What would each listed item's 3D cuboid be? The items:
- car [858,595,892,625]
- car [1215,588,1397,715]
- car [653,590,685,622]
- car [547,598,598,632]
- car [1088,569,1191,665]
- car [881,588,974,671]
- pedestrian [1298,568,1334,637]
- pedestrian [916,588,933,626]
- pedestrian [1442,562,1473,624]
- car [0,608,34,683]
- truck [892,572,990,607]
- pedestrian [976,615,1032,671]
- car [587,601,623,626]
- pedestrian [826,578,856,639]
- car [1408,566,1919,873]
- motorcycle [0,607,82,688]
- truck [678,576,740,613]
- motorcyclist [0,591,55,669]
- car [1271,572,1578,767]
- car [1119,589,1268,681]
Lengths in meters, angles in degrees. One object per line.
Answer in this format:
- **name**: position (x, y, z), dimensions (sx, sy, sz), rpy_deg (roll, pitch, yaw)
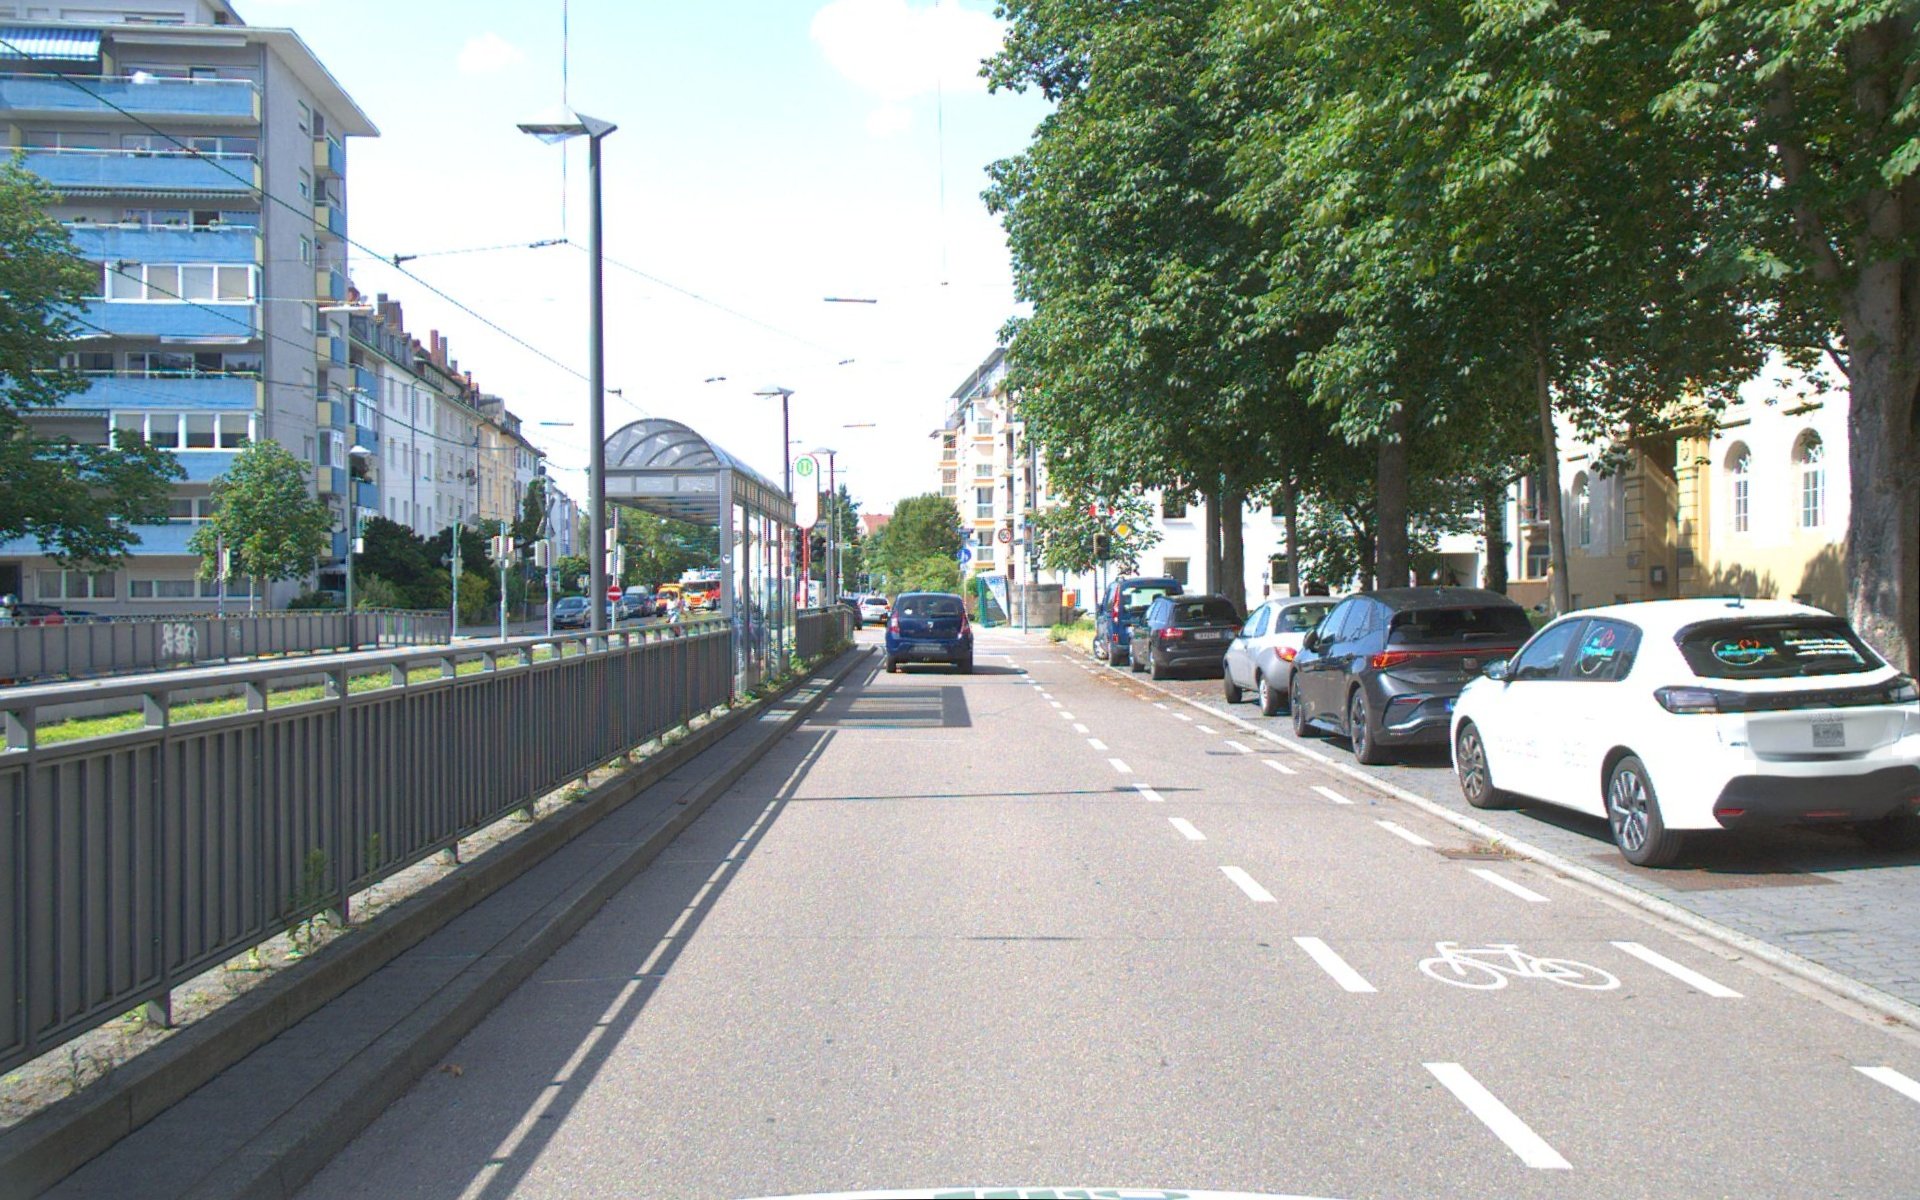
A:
- **car**: position (-4.450, 0.532, 86.005), dimensions (1.591, 1.491, 3.506), rpy_deg (1, 0, -5)
- **car**: position (4.475, 0.627, 21.842), dimensions (1.558, 1.470, 3.597), rpy_deg (-2, 0, -1)
- **car**: position (-21.956, 0.438, 124.934), dimensions (1.956, 2.315, 4.826), rpy_deg (2, 0, -7)
- **car**: position (-20.001, 0.756, 85.439), dimensions (1.954, 1.674, 3.996), rpy_deg (1, 0, -5)
- **car**: position (3.883, 0.325, 36.335), dimensions (1.785, 1.929, 4.184), rpy_deg (-2, 1, 0)
- **car**: position (-0.657, 0.562, 32.799), dimensions (1.708, 1.533, 3.998), rpy_deg (1, 0, -2)
- **pedestrian**: position (9.078, 0.056, 42.181), dimensions (0.729, 1.726, 0.767), rpy_deg (-1, 0, 0)
- **pedestrian**: position (-1.757, 0.342, 81.511), dimensions (0.687, 1.820, 1.029), rpy_deg (-4, 0, -5)
- **pedestrian**: position (13.337, -0.182, 44.373), dimensions (0.619, 1.624, 0.539), rpy_deg (-1, -1, -4)
- **car**: position (-22.278, 1.014, 36.026), dimensions (3.620, 1.607, 1.631), rpy_deg (-1, 0, -32)
- **truck**: position (-2.027, -1.105, 174.511), dimensions (9.954, 3.531, 2.668), rpy_deg (1, -1, -12)
- **pedestrian**: position (1.638, 1.606, 63.127), dimensions (1.953, 2.049, 3.999), rpy_deg (1, 0, -1)
- **car**: position (-21.746, 0.848, 101.335), dimensions (1.734, 1.467, 3.994), rpy_deg (1, 0, -7)
- **pedestrian**: position (-3.401, 0.239, 47.267), dimensions (0.828, 1.697, 0.798), rpy_deg (-1, -1, -4)
- **car**: position (4.587, 0.625, 10.978), dimensions (1.799, 1.550, 4.250), rpy_deg (-3, 0, -3)
- **motorcycle**: position (-16.828, 0.826, 29.476), dimensions (0.994, 1.362, 2.517), rpy_deg (-1, 0, -1)
- **truck**: position (-23.497, -0.554, 155.354), dimensions (2.541, 3.241, 8.389), rpy_deg (-2, 0, 15)
- **motorcyclist**: position (-16.862, 0.530, 29.451), dimensions (0.919, 1.362, 0.986), rpy_deg (-1, 0, 0)
- **car**: position (4.438, 0.584, 16.575), dimensions (1.690, 1.611, 4.677), rpy_deg (-2, 0, 0)
- **car**: position (4.262, 0.589, 30.985), dimensions (1.879, 1.467, 4.795), rpy_deg (-3, 1, -2)
